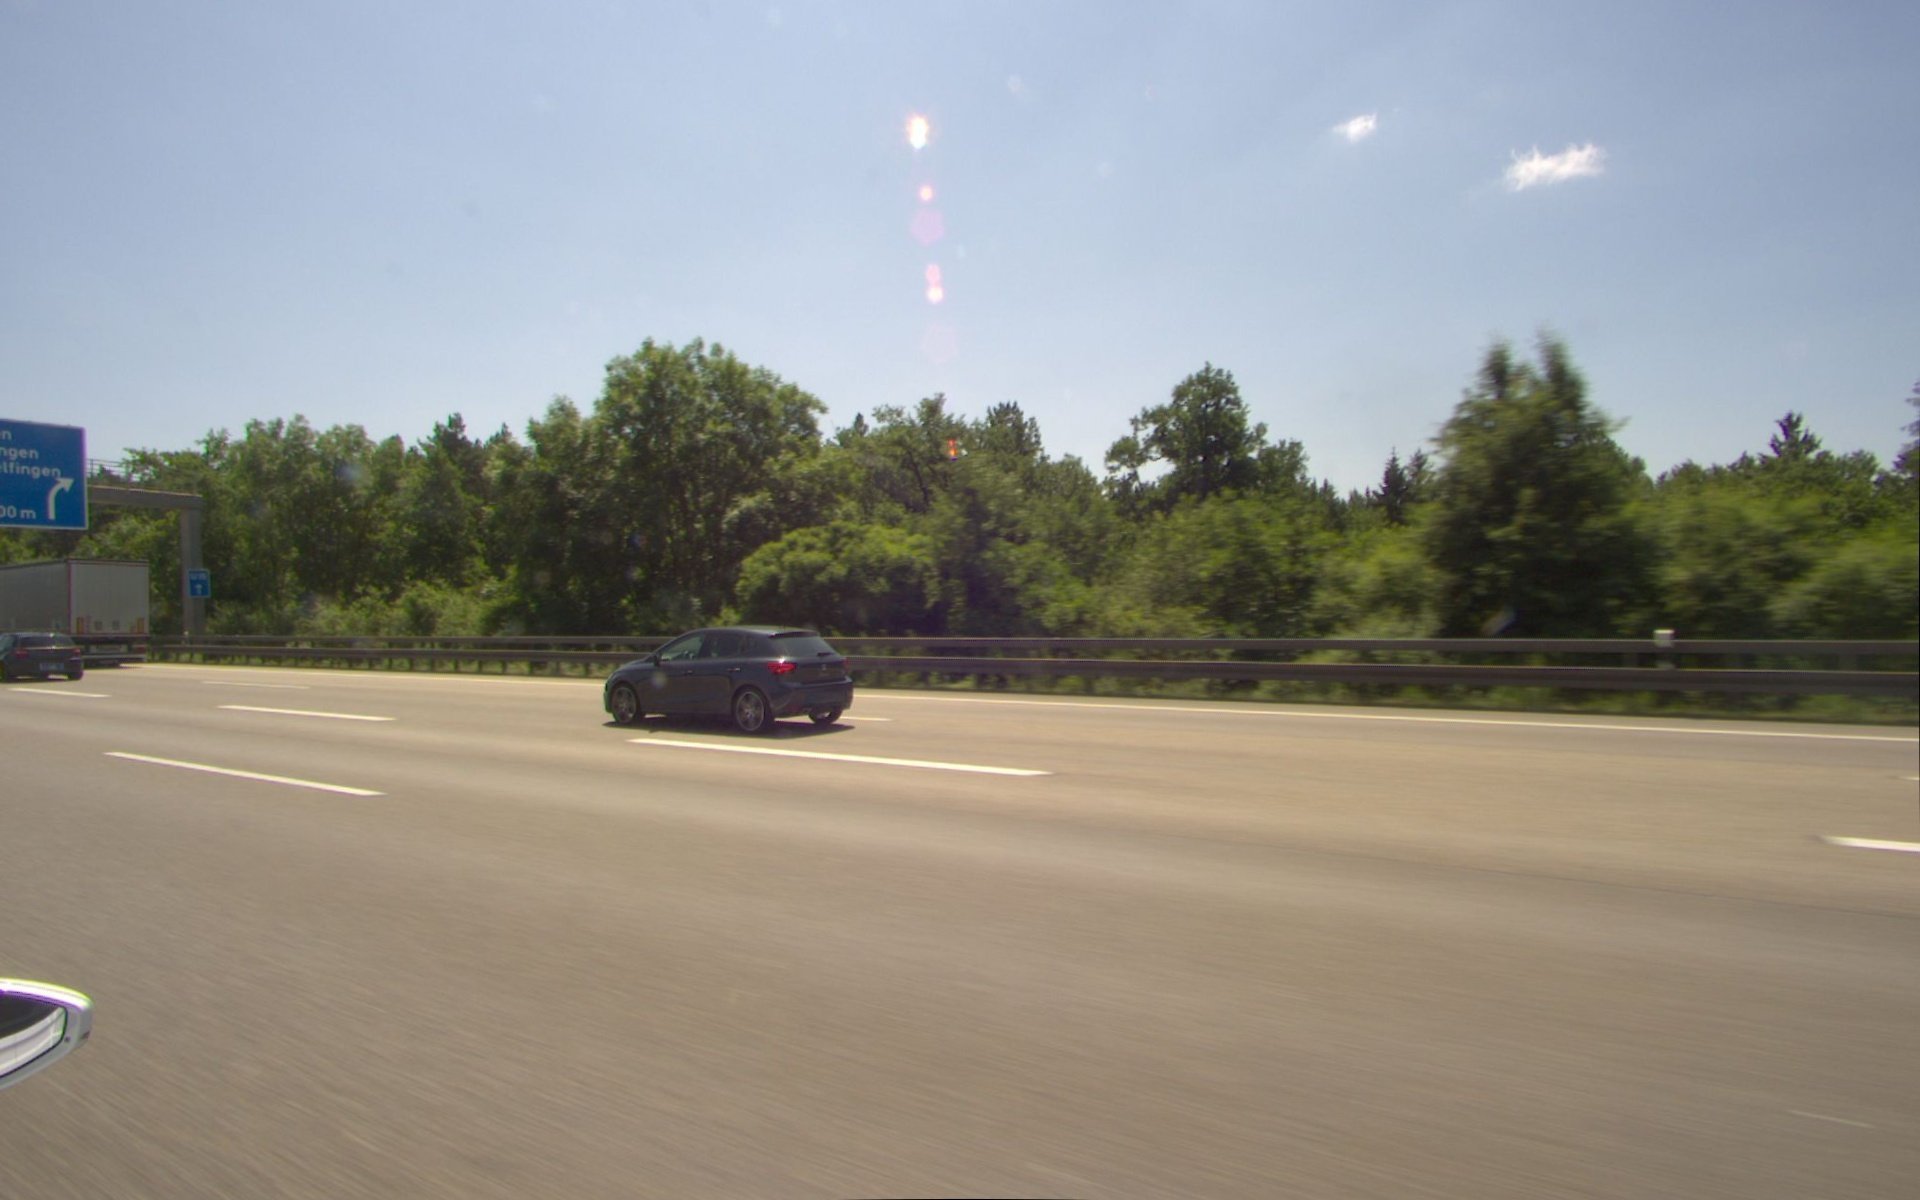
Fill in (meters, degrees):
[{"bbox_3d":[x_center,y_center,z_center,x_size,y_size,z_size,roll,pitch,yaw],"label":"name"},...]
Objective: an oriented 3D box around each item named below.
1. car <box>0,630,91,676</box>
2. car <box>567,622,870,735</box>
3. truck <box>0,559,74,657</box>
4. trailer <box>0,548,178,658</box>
[{"bbox_3d":[-27.434,1.525,29.499,4.229,1.290,1.667,-1,-2,33],"label":"car"},{"bbox_3d":[-3.642,1.053,14.789,4.568,1.457,1.640,-1,-1,32],"label":"car"},{"bbox_3d":[-43.005,0.389,45.038,5.902,4.160,3.248,0,-1,32],"label":"truck"},{"bbox_3d":[-37.342,0.209,41.497,13.689,3.981,3.282,-1,-1,32],"label":"trailer"}]
